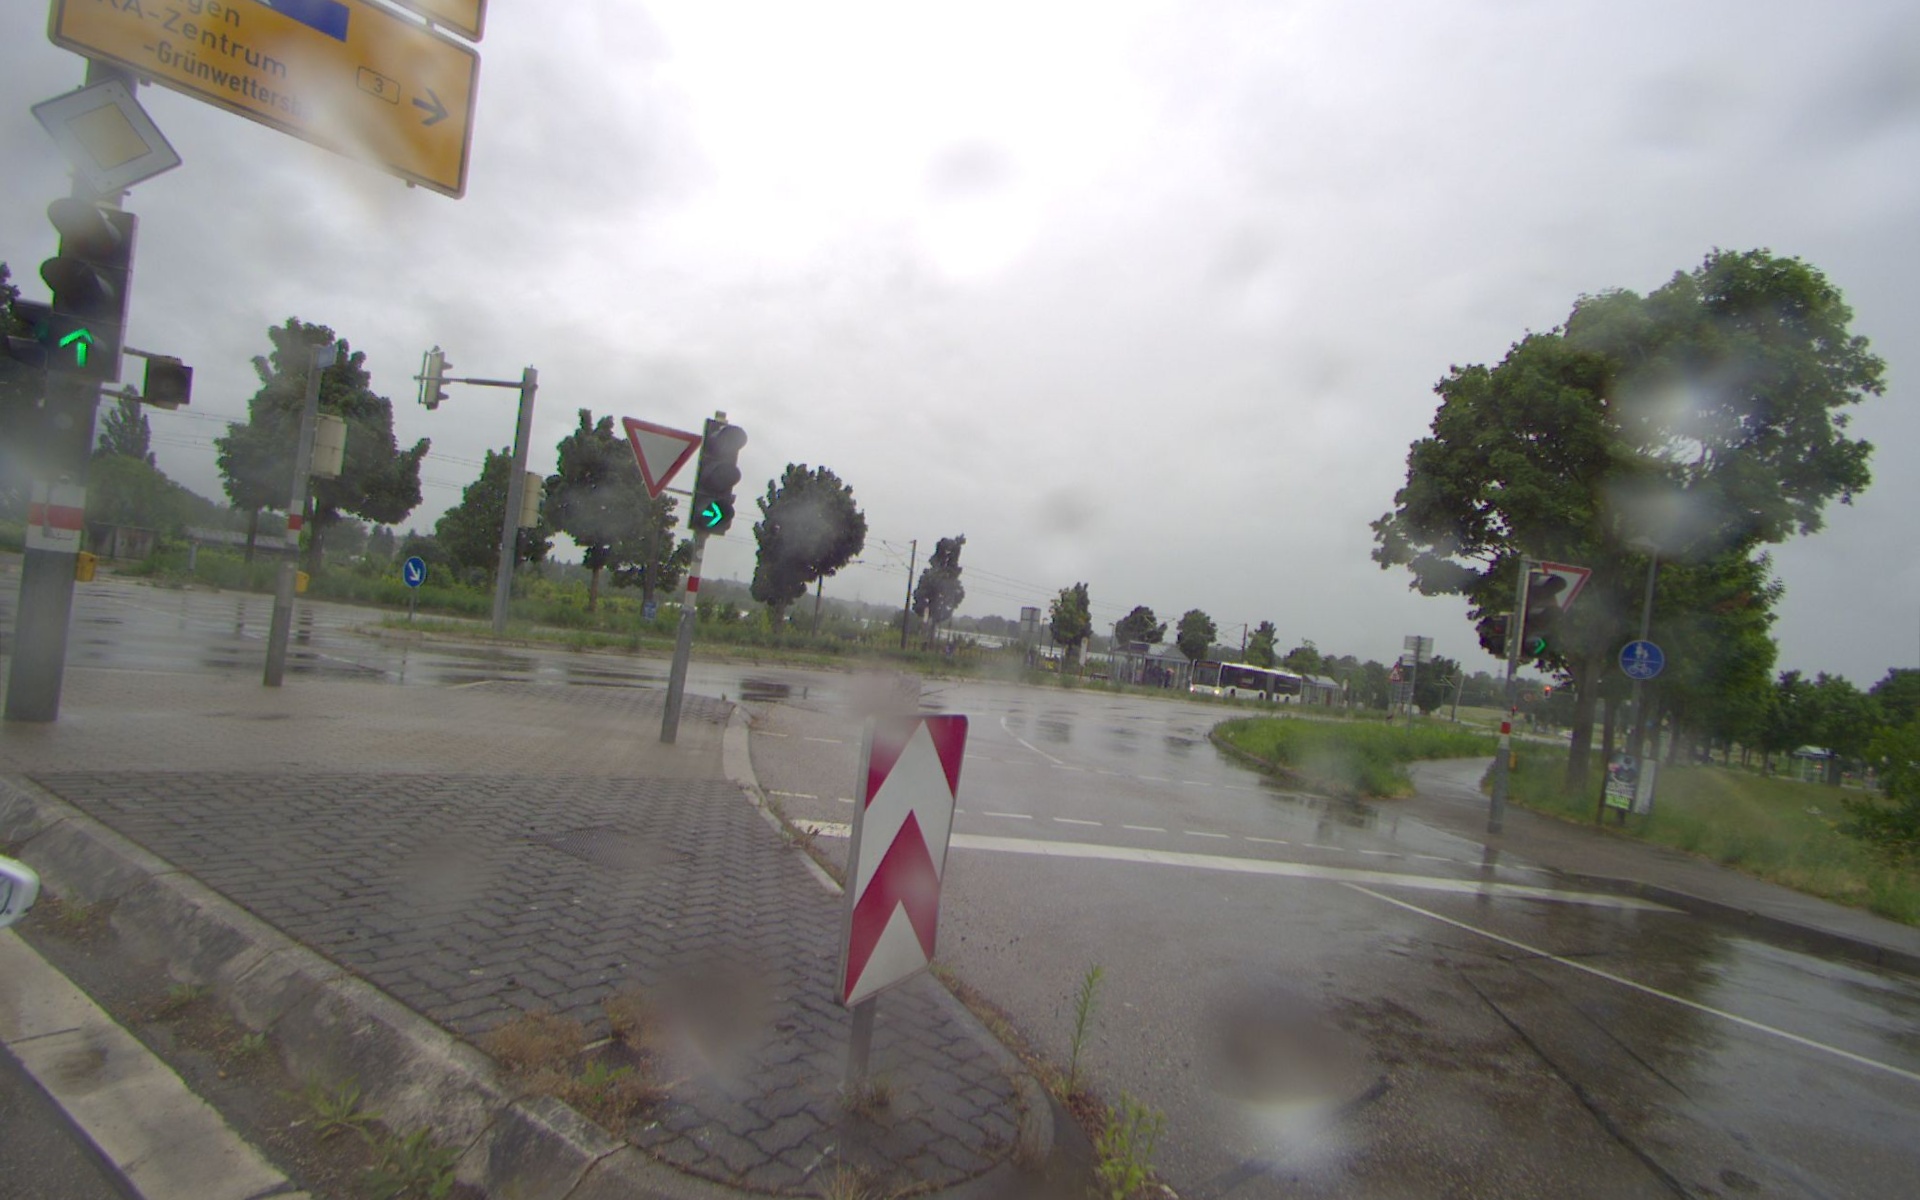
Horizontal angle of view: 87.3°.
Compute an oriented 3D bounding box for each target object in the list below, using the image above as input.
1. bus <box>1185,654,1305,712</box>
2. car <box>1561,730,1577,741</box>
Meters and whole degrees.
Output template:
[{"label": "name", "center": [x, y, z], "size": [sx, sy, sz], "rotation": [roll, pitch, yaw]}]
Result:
[{"label": "bus", "center": [24.260, 7.123, 84.266], "size": [2.715, 3.828, 18.380], "rotation": [7, -2, 38]}, {"label": "car", "center": [95.477, 21.286, 157.662], "size": [1.850, 1.370, 4.042], "rotation": [7, -1, 34]}]
